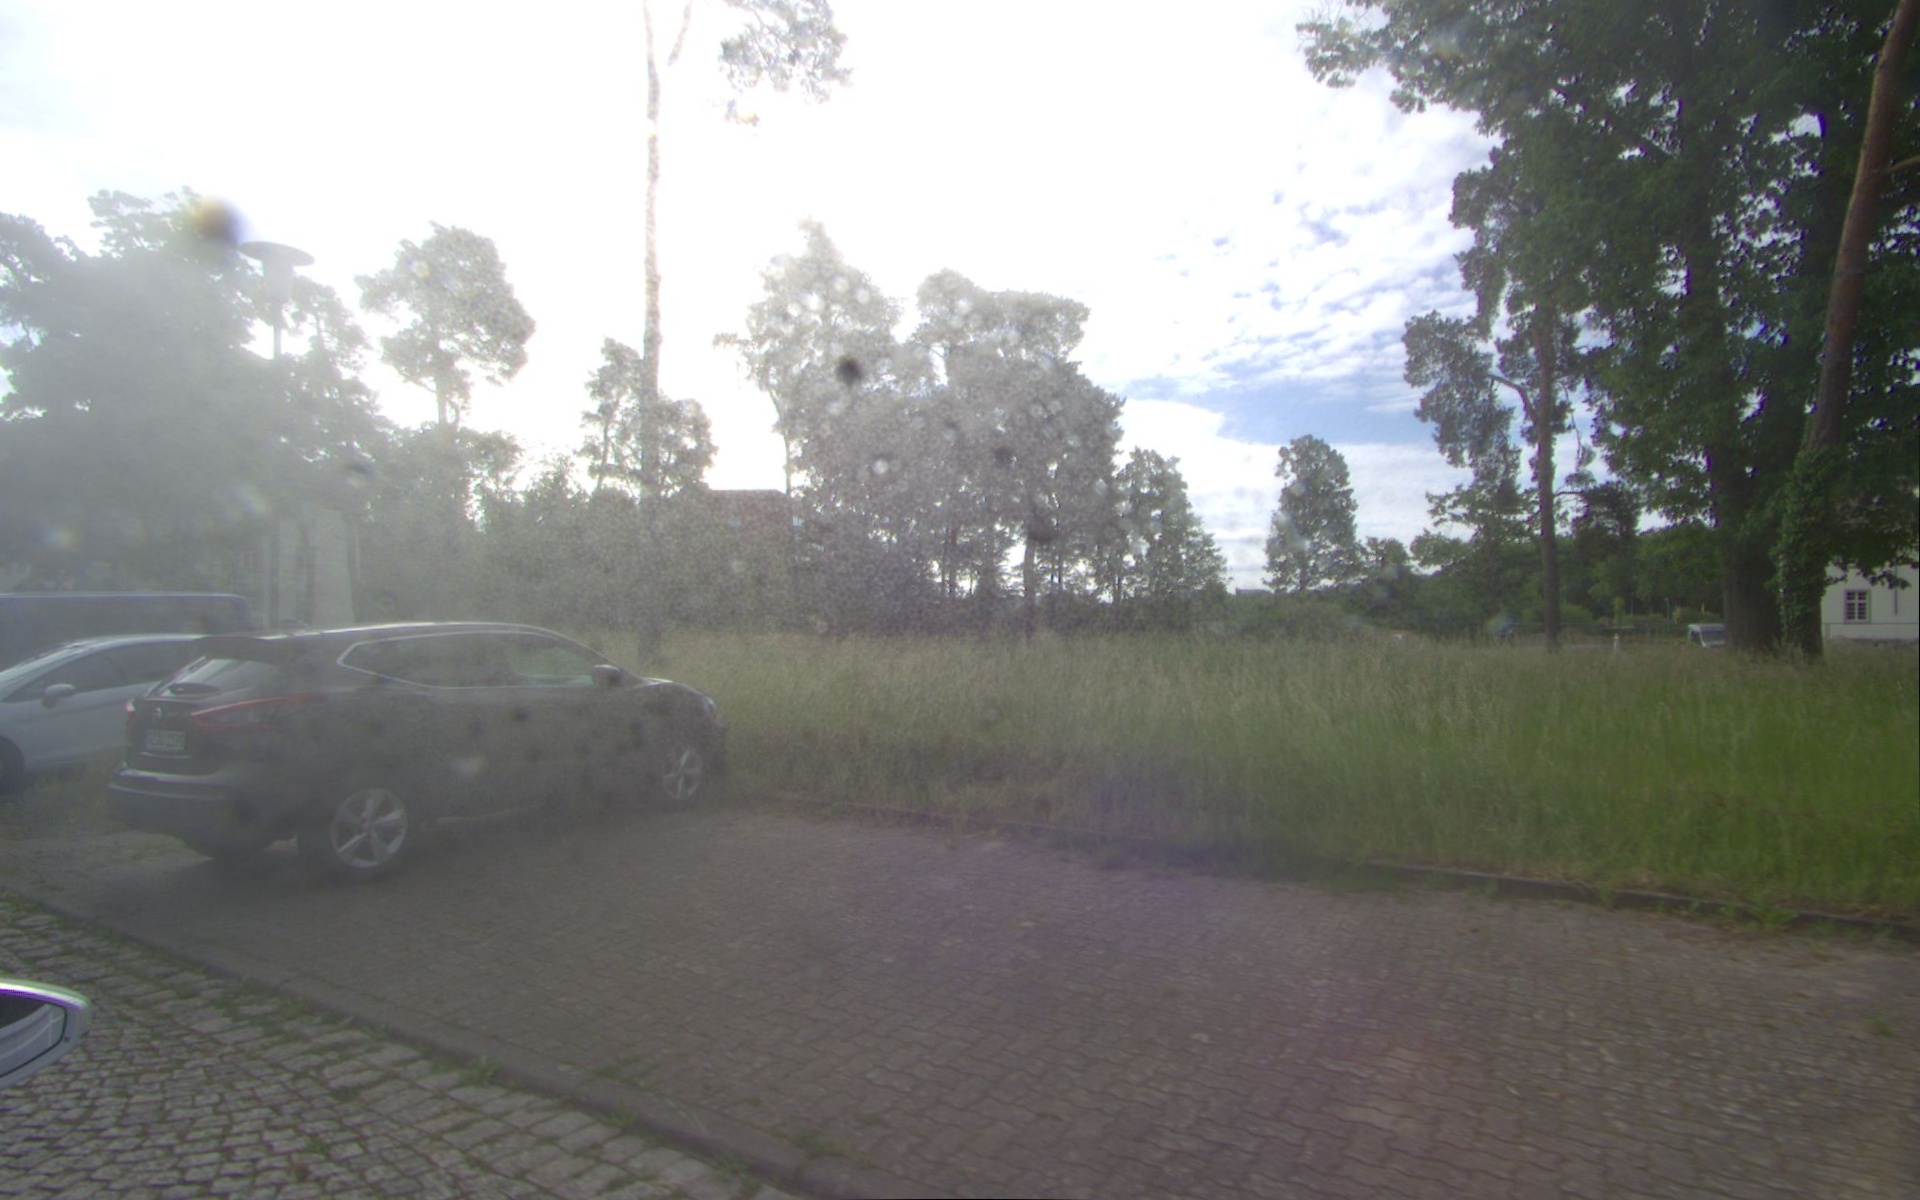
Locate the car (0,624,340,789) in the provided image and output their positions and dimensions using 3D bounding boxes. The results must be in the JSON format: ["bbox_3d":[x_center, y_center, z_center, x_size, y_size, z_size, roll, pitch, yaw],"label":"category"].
[{"bbox_3d":[-9.212,1.036,10.723,1.695,1.498,4.095,0,-1,28],"label":"car"}]

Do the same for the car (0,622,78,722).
[{"bbox_3d":[-15.748,1.094,14.870,1.739,1.498,3.648,0,-1,31],"label":"car"}]

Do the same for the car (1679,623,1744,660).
[{"bbox_3d":[56.791,3.194,75.834,2.237,2.673,5.676,0,-3,19],"label":"car"}]

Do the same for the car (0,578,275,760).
[{"bbox_3d":[-11.342,0.782,12.045,1.936,2.030,4.791,0,0,29],"label":"car"}]

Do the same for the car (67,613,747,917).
[{"bbox_3d":[-3.753,0.909,7.650,1.923,1.616,4.200,0,-1,29],"label":"car"}]

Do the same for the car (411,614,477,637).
[{"bbox_3d":[-49.492,2.501,96.192,2.075,2.044,5.295,-1,-3,31],"label":"car"}]

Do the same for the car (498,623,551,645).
[{"bbox_3d":[-39.866,3.131,91.697,1.873,1.826,4.127,-1,-3,33],"label":"car"}]

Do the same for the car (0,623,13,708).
[{"bbox_3d":[-18.316,1.124,16.151,1.740,1.466,4.124,0,-1,31],"label":"car"}]
